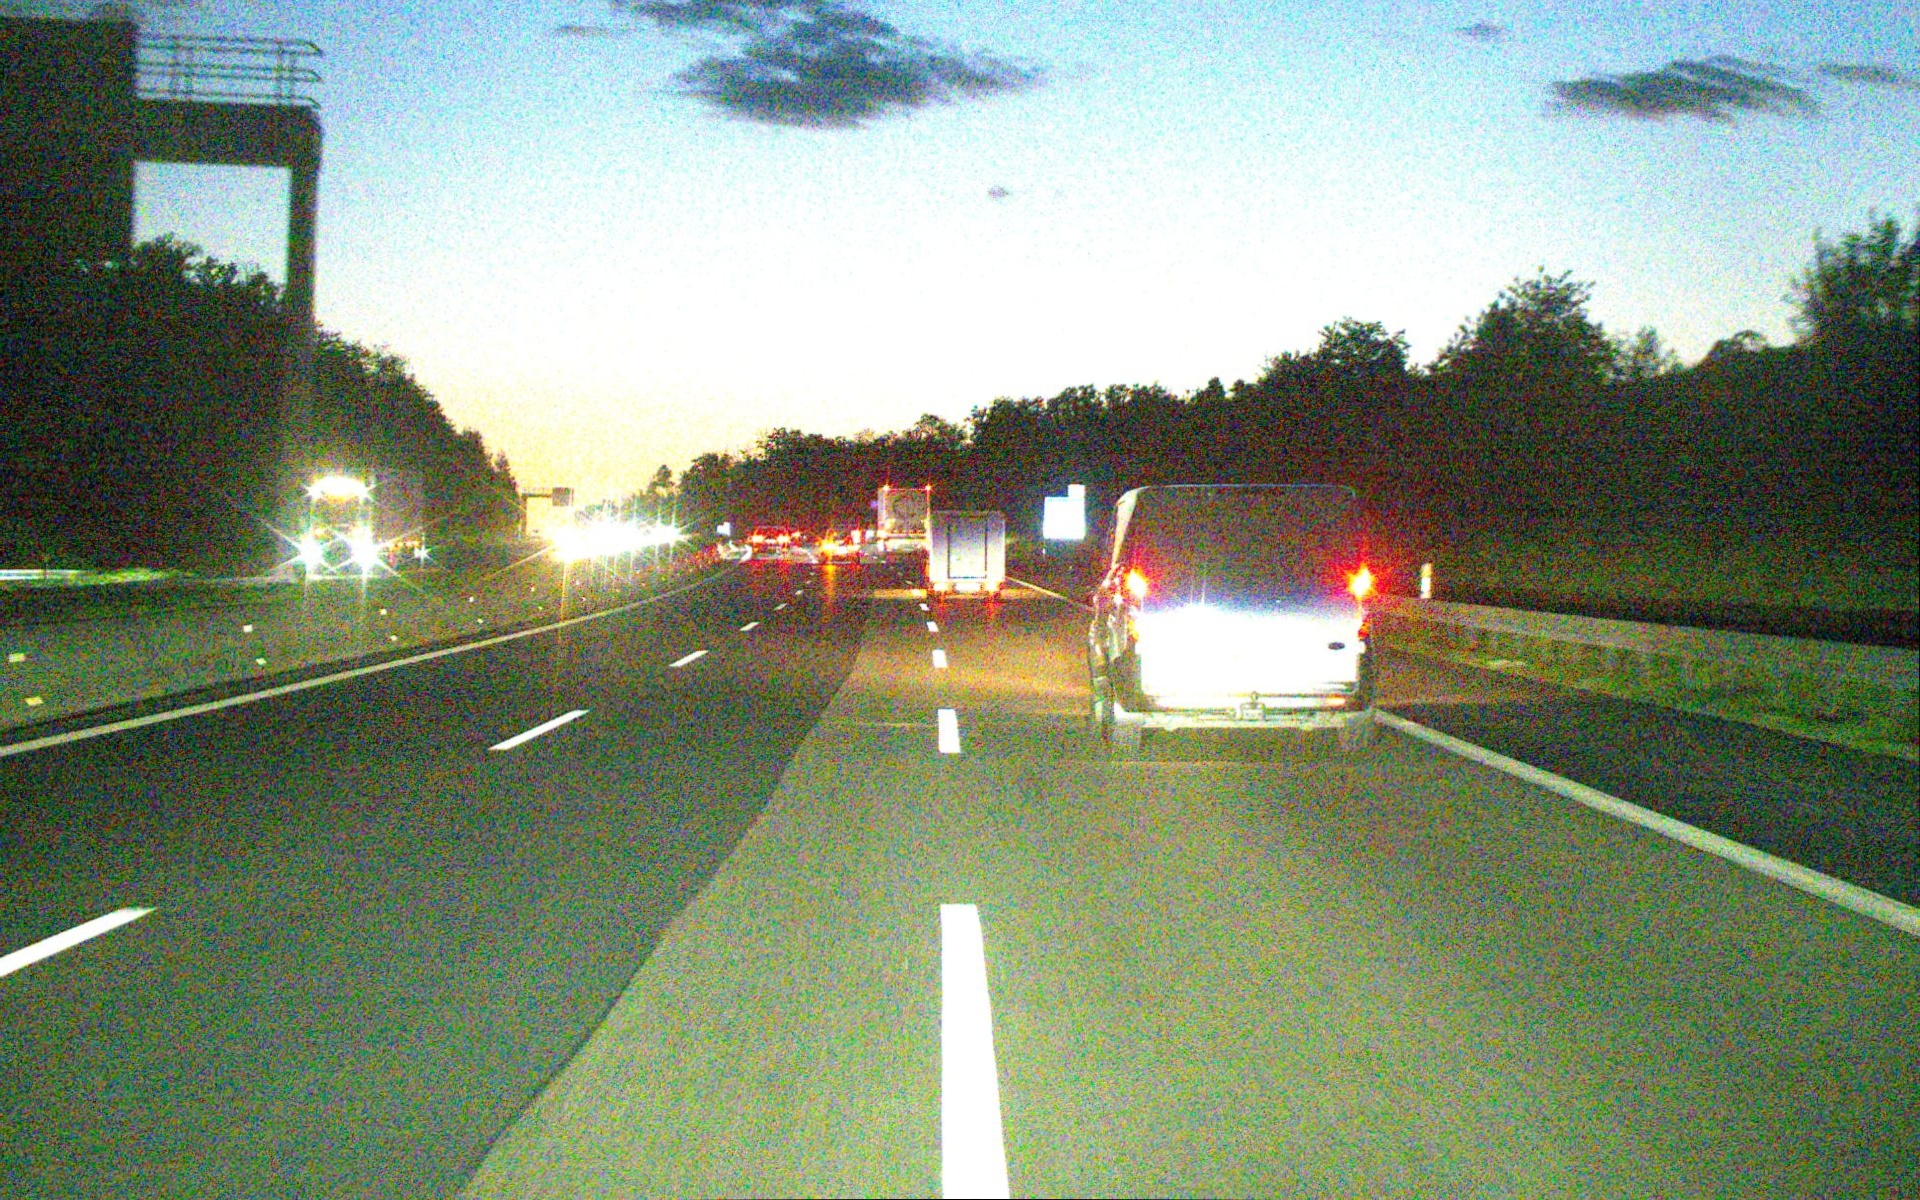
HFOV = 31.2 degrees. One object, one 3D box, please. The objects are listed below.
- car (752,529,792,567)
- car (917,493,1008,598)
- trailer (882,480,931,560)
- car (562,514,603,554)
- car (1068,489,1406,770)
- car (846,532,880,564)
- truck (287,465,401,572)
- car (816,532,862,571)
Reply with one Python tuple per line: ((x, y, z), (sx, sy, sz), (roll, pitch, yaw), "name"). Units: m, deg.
((-9.486, -2.614, 173.672), (1.993, 1.810, 4.000), (0, -1, -3), "car")
((0.033, -1.423, 89.637), (2.032, 2.638, 5.726), (0, 1, -3), "car")
((-3.268, -4.733, 206.995), (2.829, 4.242, 17.049), (0, -1, -1), "trailer")
((-23.761, -4.172, 216.690), (2.101, 2.509, 6.216), (0, 1, -2), "car")
((2.052, 0.162, 27.181), (2.115, 1.994, 5.664), (0, 1, -1), "car")
((-6.680, -3.600, 236.936), (1.993, 2.110, 4.001), (0, -1, -7), "car")
((-23.394, -3.085, 130.857), (3.430, 3.966, 6.208), (0, 1, -2), "truck")
((-5.720, -2.279, 162.282), (1.993, 1.788, 4.000), (0, -1, -5), "car")
